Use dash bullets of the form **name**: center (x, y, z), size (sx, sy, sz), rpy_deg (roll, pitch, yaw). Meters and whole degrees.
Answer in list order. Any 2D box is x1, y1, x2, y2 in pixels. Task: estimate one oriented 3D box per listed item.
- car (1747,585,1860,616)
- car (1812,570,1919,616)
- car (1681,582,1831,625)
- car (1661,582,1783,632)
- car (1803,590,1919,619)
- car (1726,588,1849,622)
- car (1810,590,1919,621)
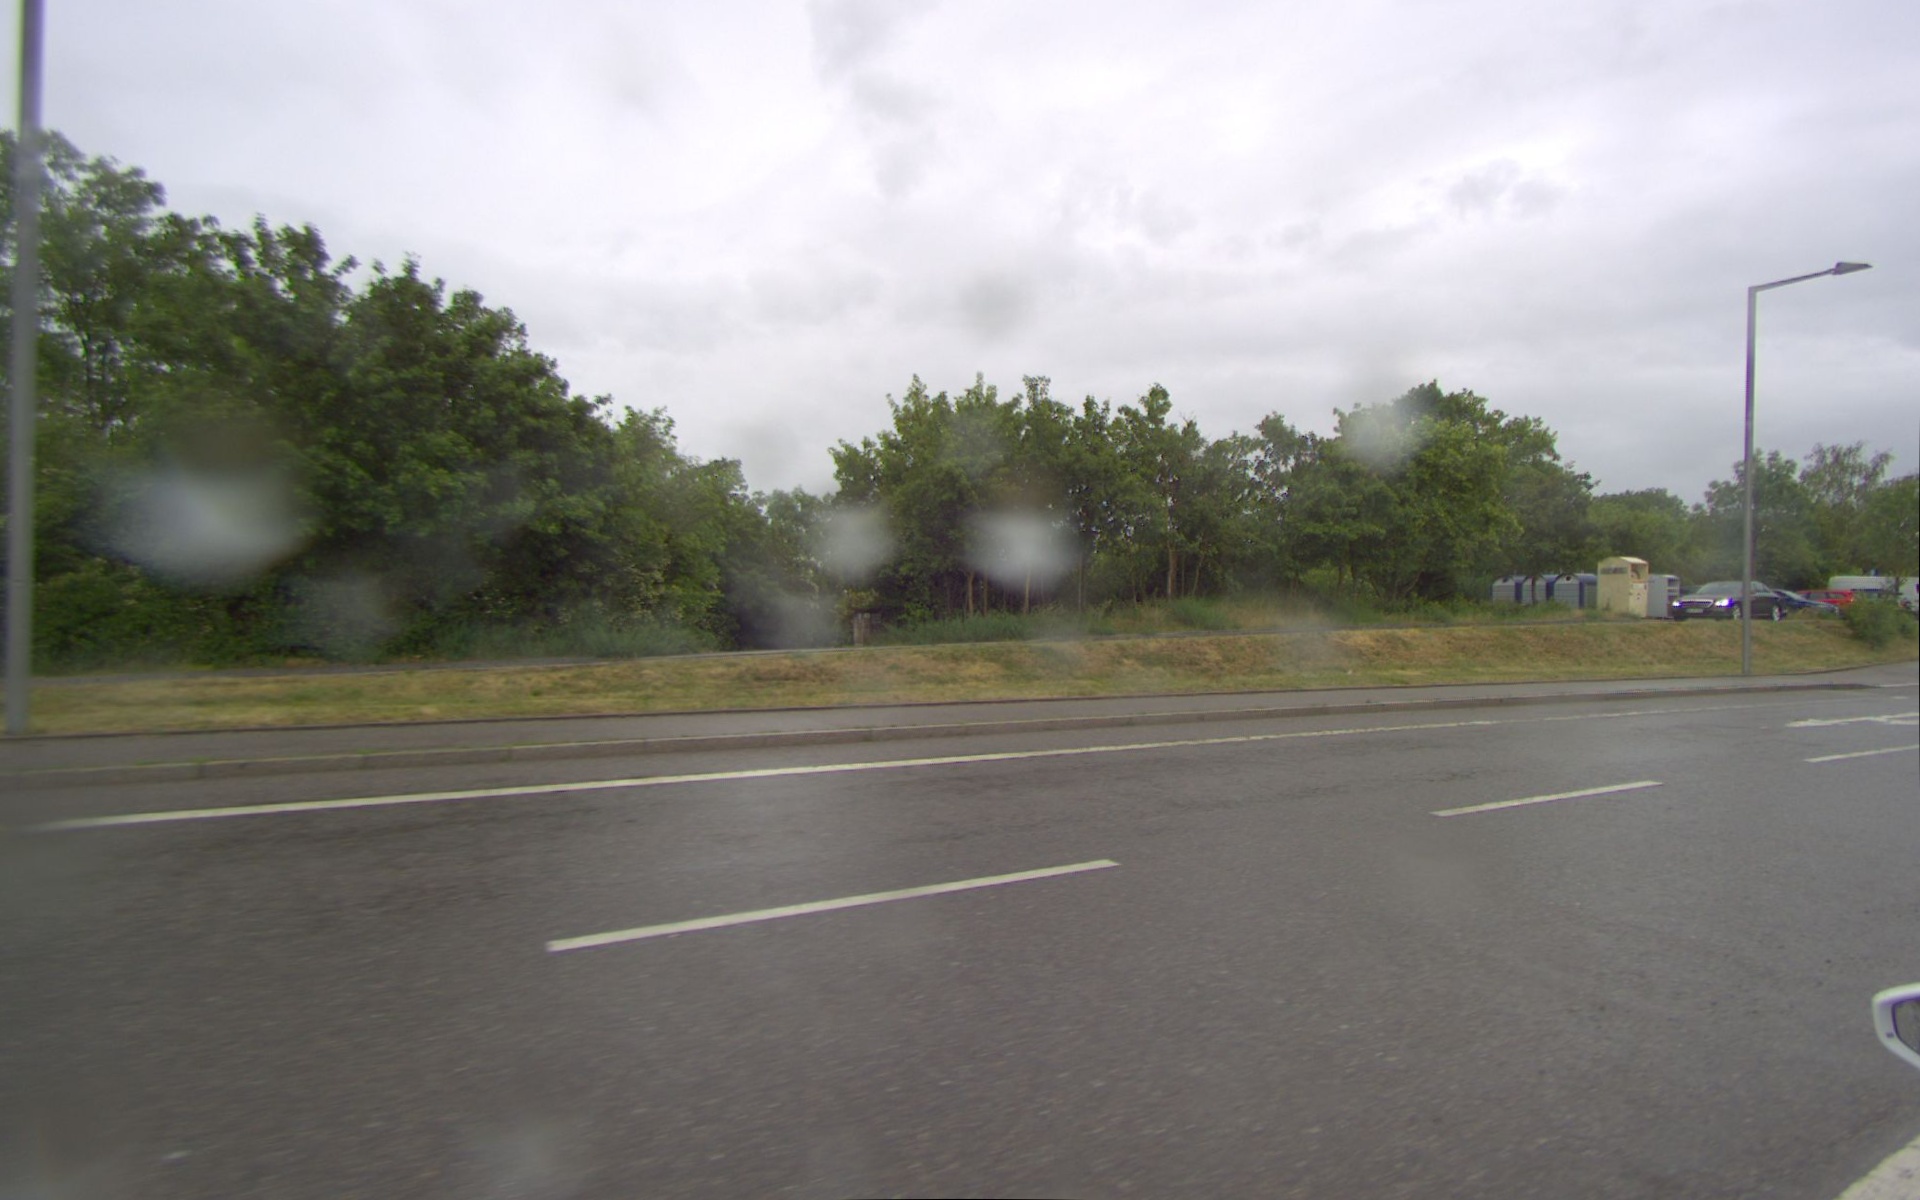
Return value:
- **car**: center (42.270, 0.022, 50.457), size (1.823, 1.489, 3.974), rpy_deg (0, 0, -26)
- **car**: center (51.749, -0.383, 55.654), size (2.114, 2.429, 6.524), rpy_deg (2, 0, -30)
- **car**: center (34.387, 0.115, 43.552), size (1.979, 1.716, 4.689), rpy_deg (0, 1, -26)
- **car**: center (27.034, 0.202, 35.611), size (4.484, 1.590, 1.684), rpy_deg (-1, 3, -28)
- **car**: center (45.580, 0.219, 50.905), size (1.822, 1.382, 3.976), rpy_deg (0, 0, -24)
- **car**: center (38.387, 0.198, 46.708), size (1.873, 1.382, 3.975), rpy_deg (0, 2, -24)
- **car**: center (47.132, 0.259, 52.330), size (1.630, 1.382, 3.975), rpy_deg (1, 2, -24)
